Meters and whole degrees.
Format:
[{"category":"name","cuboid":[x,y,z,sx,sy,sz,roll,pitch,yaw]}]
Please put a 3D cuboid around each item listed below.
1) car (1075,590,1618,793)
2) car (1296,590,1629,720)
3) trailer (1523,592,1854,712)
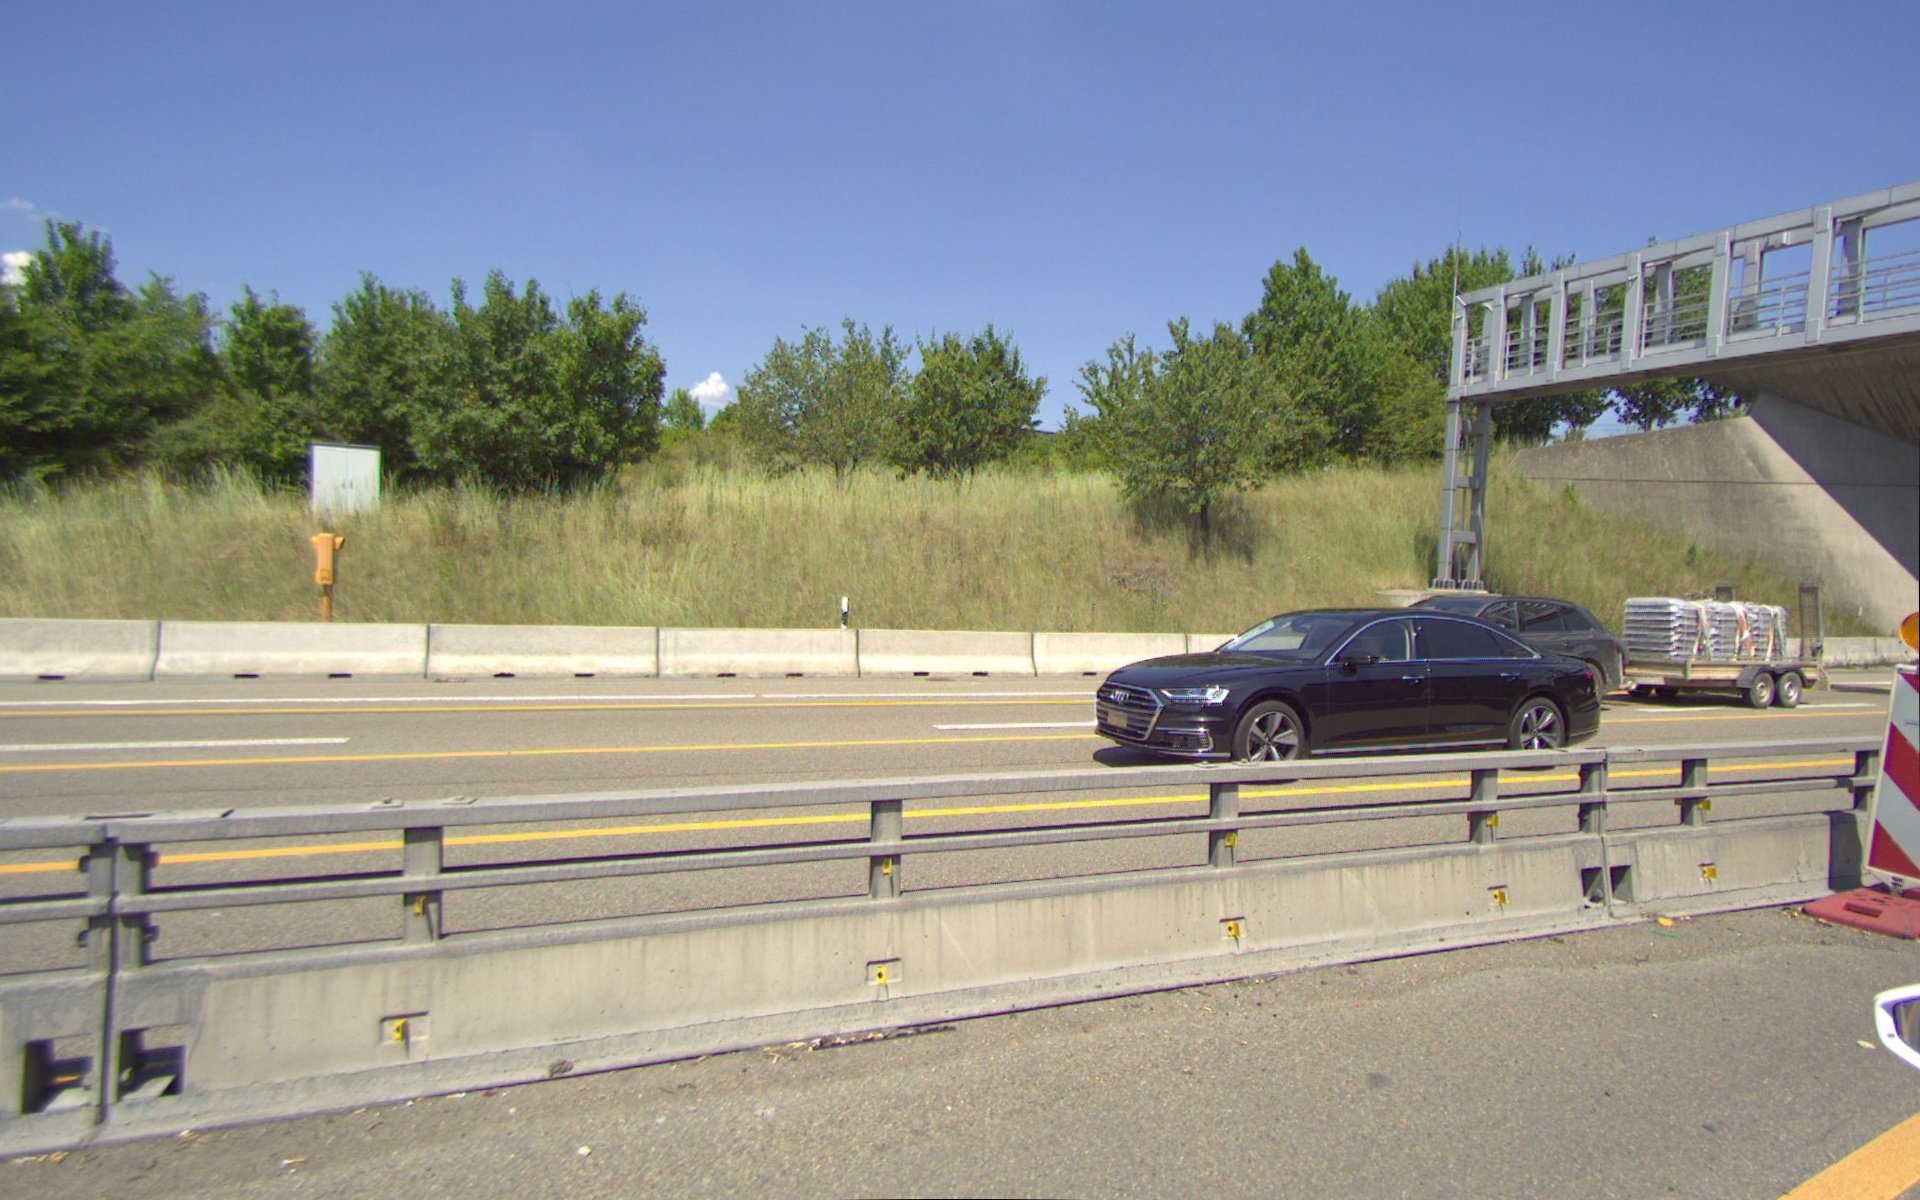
[{"category":"car","cuboid":[3.712,0.768,9.652,4.909,1.615,1.771,1,0,-20]},{"category":"car","cuboid":[7.634,0.787,15.238,4.795,1.750,1.770,1,0,-22]},{"category":"trailer","cuboid":[12.446,0.833,17.133,5.441,1.829,1.943,1,0,-22]}]
